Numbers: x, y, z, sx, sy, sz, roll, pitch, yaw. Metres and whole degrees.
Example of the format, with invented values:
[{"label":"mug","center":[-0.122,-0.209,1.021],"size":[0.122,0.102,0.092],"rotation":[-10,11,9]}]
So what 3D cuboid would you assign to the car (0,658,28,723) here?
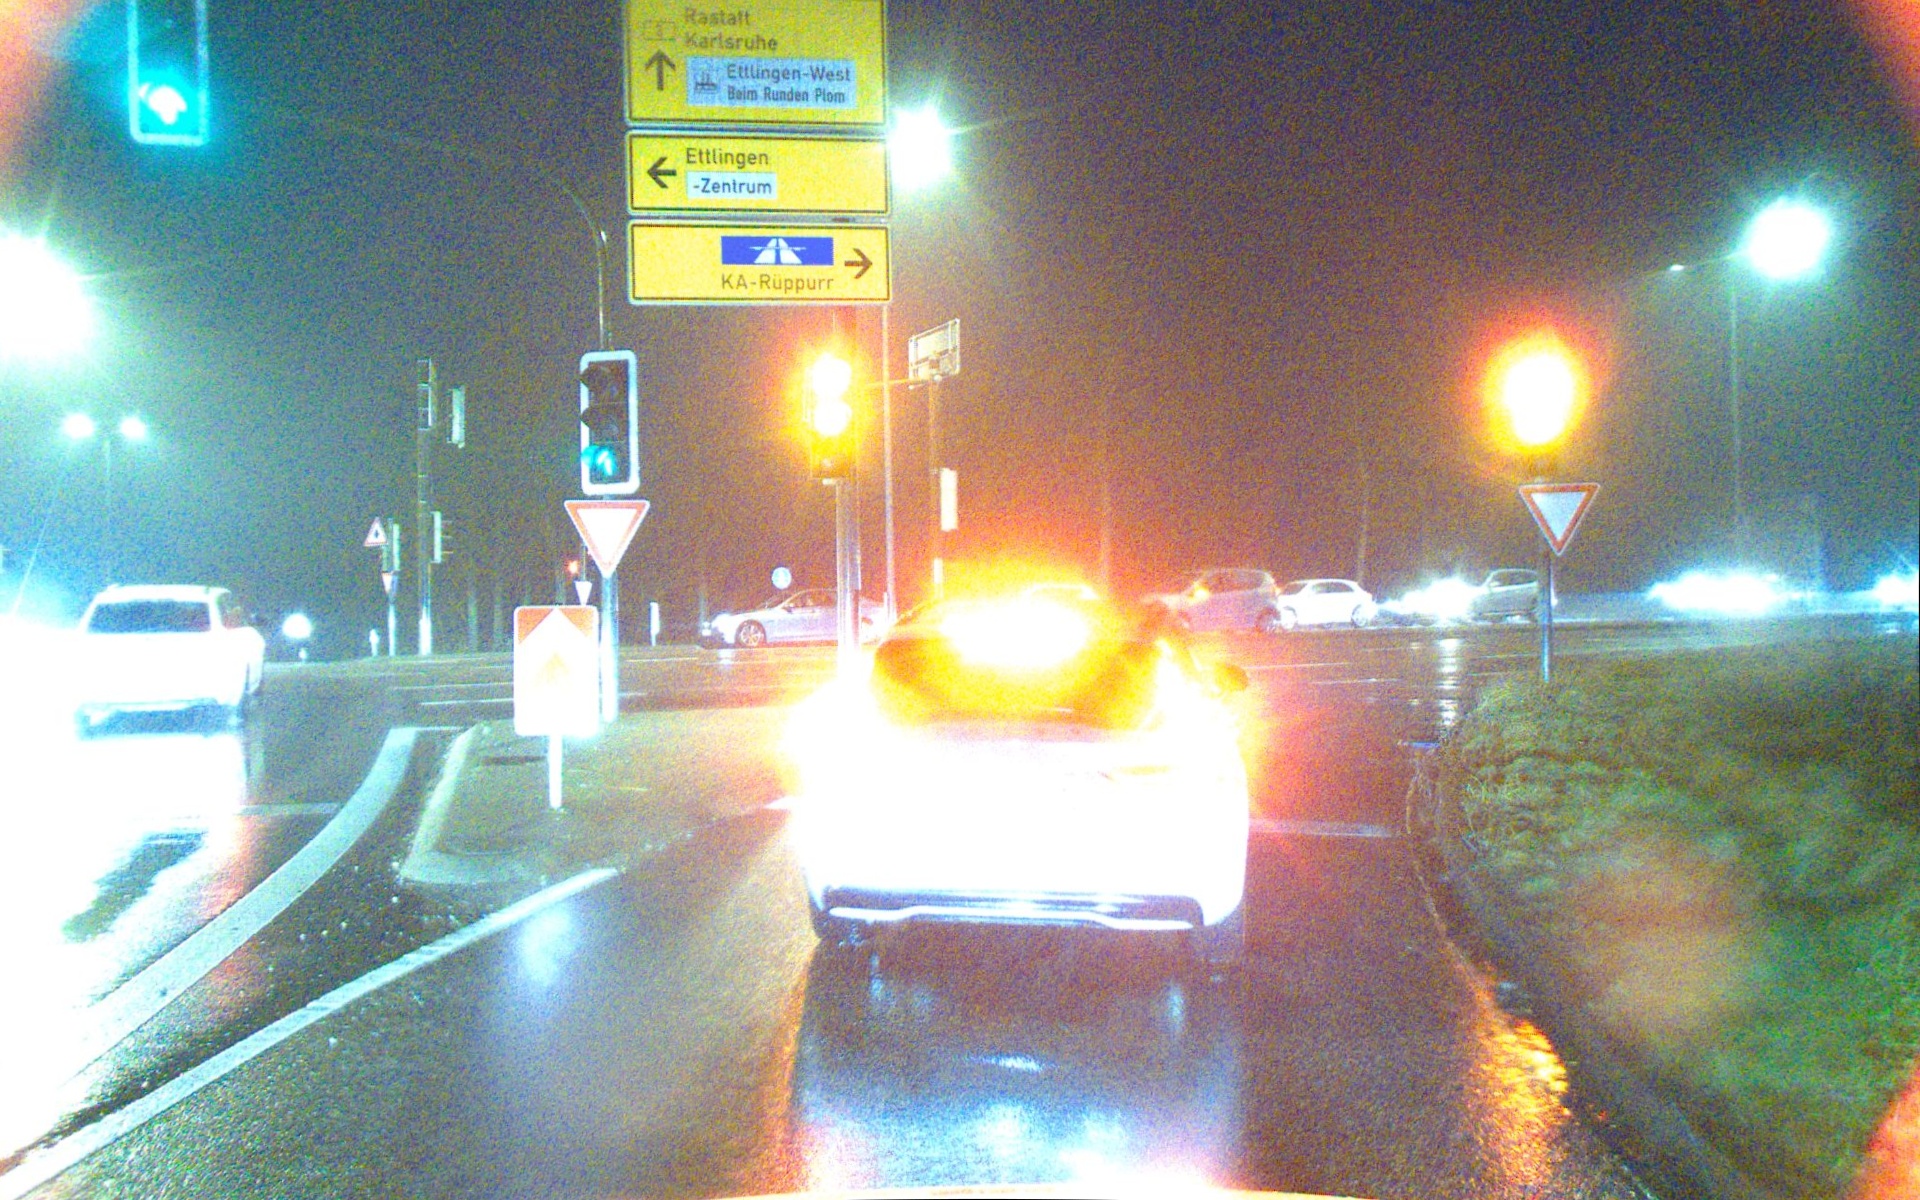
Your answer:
[{"label":"car","center":[-33.471,3.082,56.686],"size":[1.784,2.049,3.981],"rotation":[1,0,-17]}]

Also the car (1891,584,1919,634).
[{"label":"car","center":[33.884,0.325,56.562],"size":[3.918,1.695,1.788],"rotation":[1,-1,-28]}]

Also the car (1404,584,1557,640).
[{"label":"car","center":[14.603,0.352,46.420],"size":[3.991,1.513,1.705],"rotation":[1,-1,-24]}]

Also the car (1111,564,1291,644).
[{"label":"car","center":[5.618,0.064,38.469],"size":[3.841,1.755,1.751],"rotation":[-1,1,-26]}]

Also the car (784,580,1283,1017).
[{"label":"car","center":[0.562,0.658,7.928],"size":[1.758,1.477,4.272],"rotation":[0,1,9]}]

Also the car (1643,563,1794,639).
[{"label":"car","center":[28.488,0.065,62.106],"size":[5.524,2.757,2.237],"rotation":[1,-1,-27]}]

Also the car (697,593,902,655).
[{"label":"car","center":[-3.934,0.587,40.655],"size":[4.730,1.452,1.750],"rotation":[1,-1,-27]}]

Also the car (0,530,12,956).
[{"label":"car","center":[-4.301,0.596,4.268],"size":[1.795,1.682,4.469],"rotation":[0,1,-10]}]

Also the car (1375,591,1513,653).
[{"label":"car","center":[15.034,0.677,51.364],"size":[4.064,1.880,1.749],"rotation":[1,-1,-28]}]

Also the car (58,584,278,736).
[{"label":"car","center":[-8.762,0.608,18.620],"size":[1.673,1.489,4.292],"rotation":[0,0,-18]}]

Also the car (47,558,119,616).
[{"label":"car","center":[-33.576,-0.489,63.434],"size":[1.748,2.115,3.979],"rotation":[1,0,-18]}]

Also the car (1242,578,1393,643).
[{"label":"car","center":[10.467,0.312,48.373],"size":[4.187,1.830,1.788],"rotation":[1,-1,-28]}]

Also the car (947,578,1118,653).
[{"label":"car","center":[1.928,0.414,43.686],"size":[4.221,1.880,1.749],"rotation":[1,-1,-28]}]

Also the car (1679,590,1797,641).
[{"label":"car","center":[27.630,0.547,58.729],"size":[4.064,1.744,1.749],"rotation":[1,-1,-28]}]
